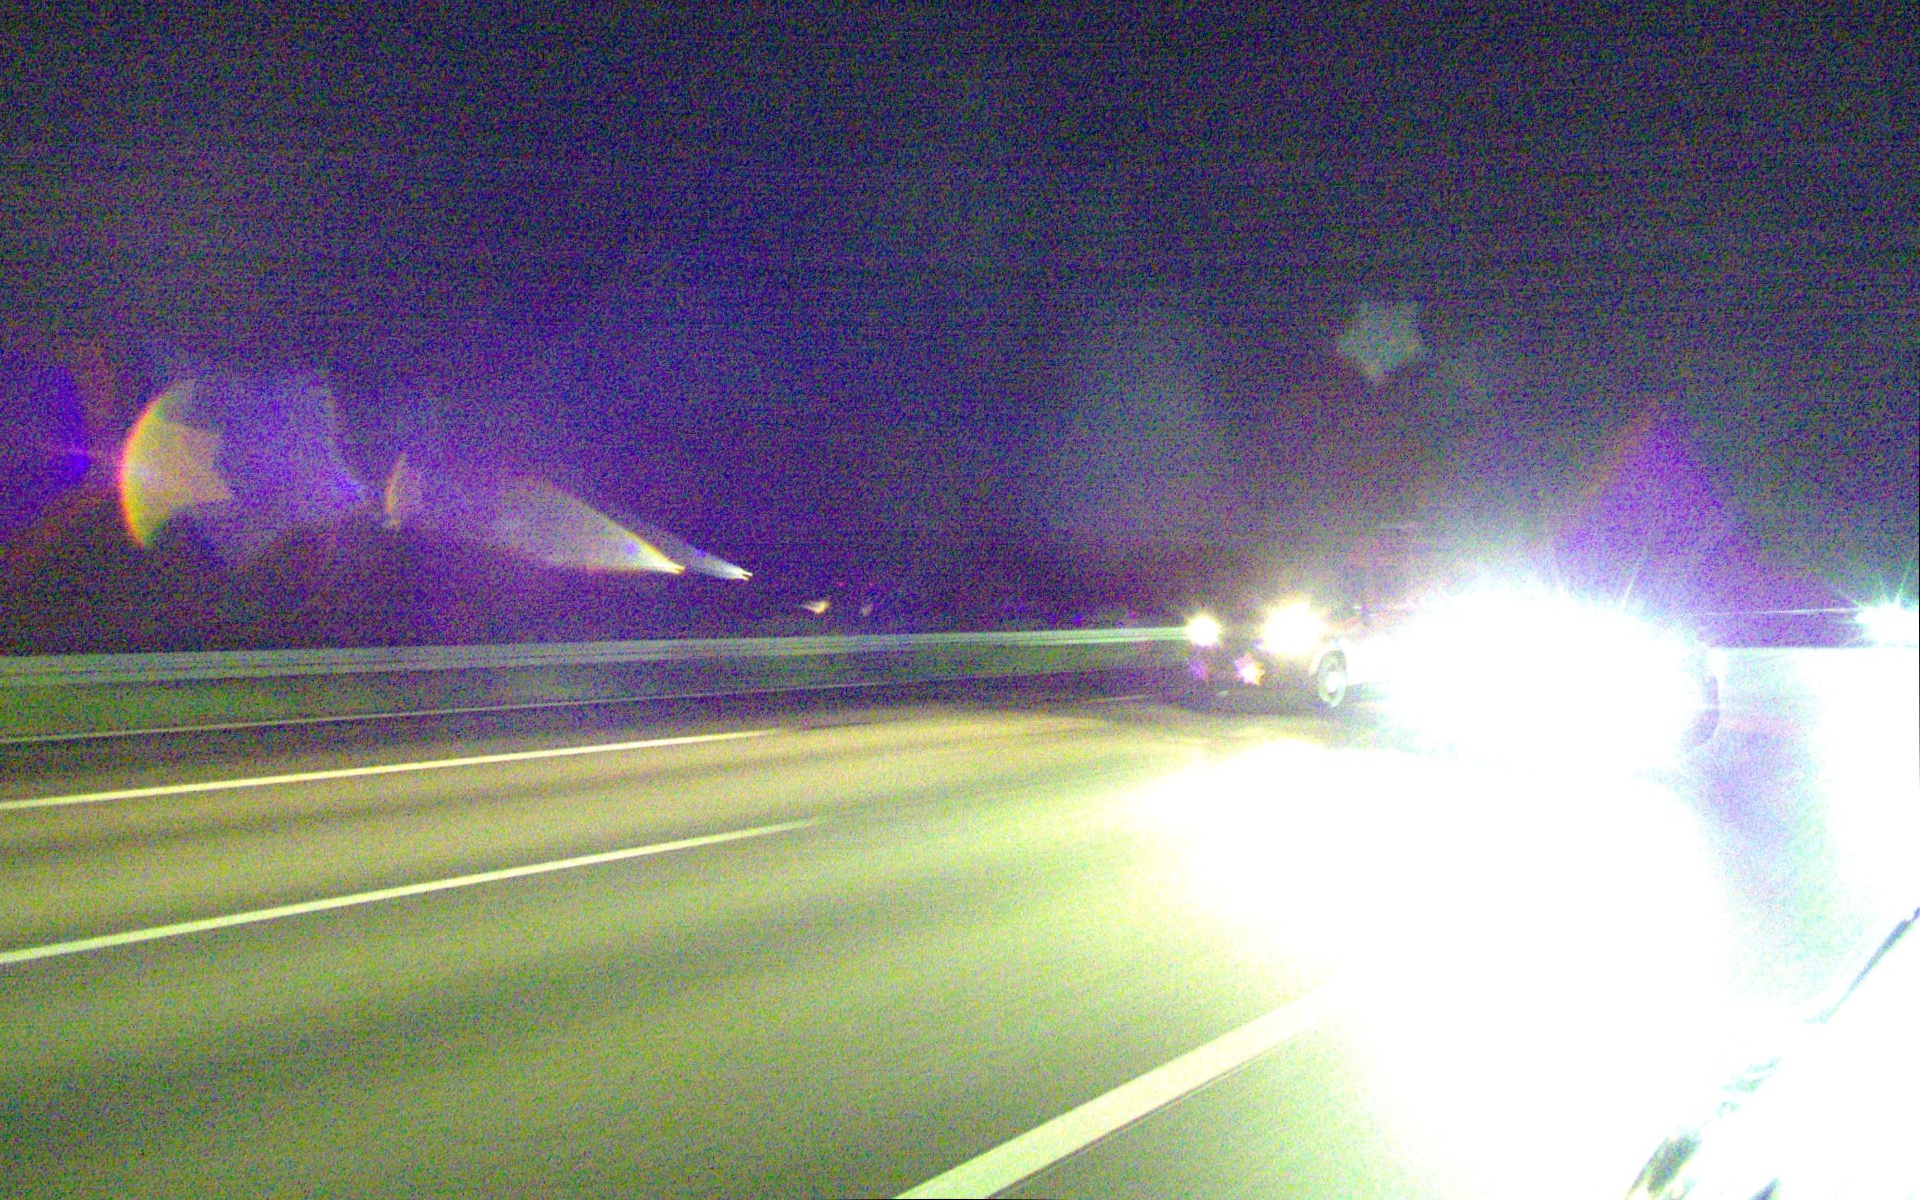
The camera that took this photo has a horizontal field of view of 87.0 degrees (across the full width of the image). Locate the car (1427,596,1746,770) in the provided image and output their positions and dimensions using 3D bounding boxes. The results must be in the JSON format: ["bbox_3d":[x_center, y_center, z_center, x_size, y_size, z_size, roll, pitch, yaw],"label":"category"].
[{"bbox_3d":[6.707,0.702,10.654,4.151,1.431,1.689,-1,1,-41],"label":"car"}]

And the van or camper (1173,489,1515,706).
[{"bbox_3d":[6.327,-0.041,16.079,6.685,2.807,2.211,0,0,-41],"label":"van or camper"}]

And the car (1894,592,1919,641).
[{"bbox_3d":[32.706,0.544,33.753,4.151,1.560,1.794,0,1,-41],"label":"car"}]
